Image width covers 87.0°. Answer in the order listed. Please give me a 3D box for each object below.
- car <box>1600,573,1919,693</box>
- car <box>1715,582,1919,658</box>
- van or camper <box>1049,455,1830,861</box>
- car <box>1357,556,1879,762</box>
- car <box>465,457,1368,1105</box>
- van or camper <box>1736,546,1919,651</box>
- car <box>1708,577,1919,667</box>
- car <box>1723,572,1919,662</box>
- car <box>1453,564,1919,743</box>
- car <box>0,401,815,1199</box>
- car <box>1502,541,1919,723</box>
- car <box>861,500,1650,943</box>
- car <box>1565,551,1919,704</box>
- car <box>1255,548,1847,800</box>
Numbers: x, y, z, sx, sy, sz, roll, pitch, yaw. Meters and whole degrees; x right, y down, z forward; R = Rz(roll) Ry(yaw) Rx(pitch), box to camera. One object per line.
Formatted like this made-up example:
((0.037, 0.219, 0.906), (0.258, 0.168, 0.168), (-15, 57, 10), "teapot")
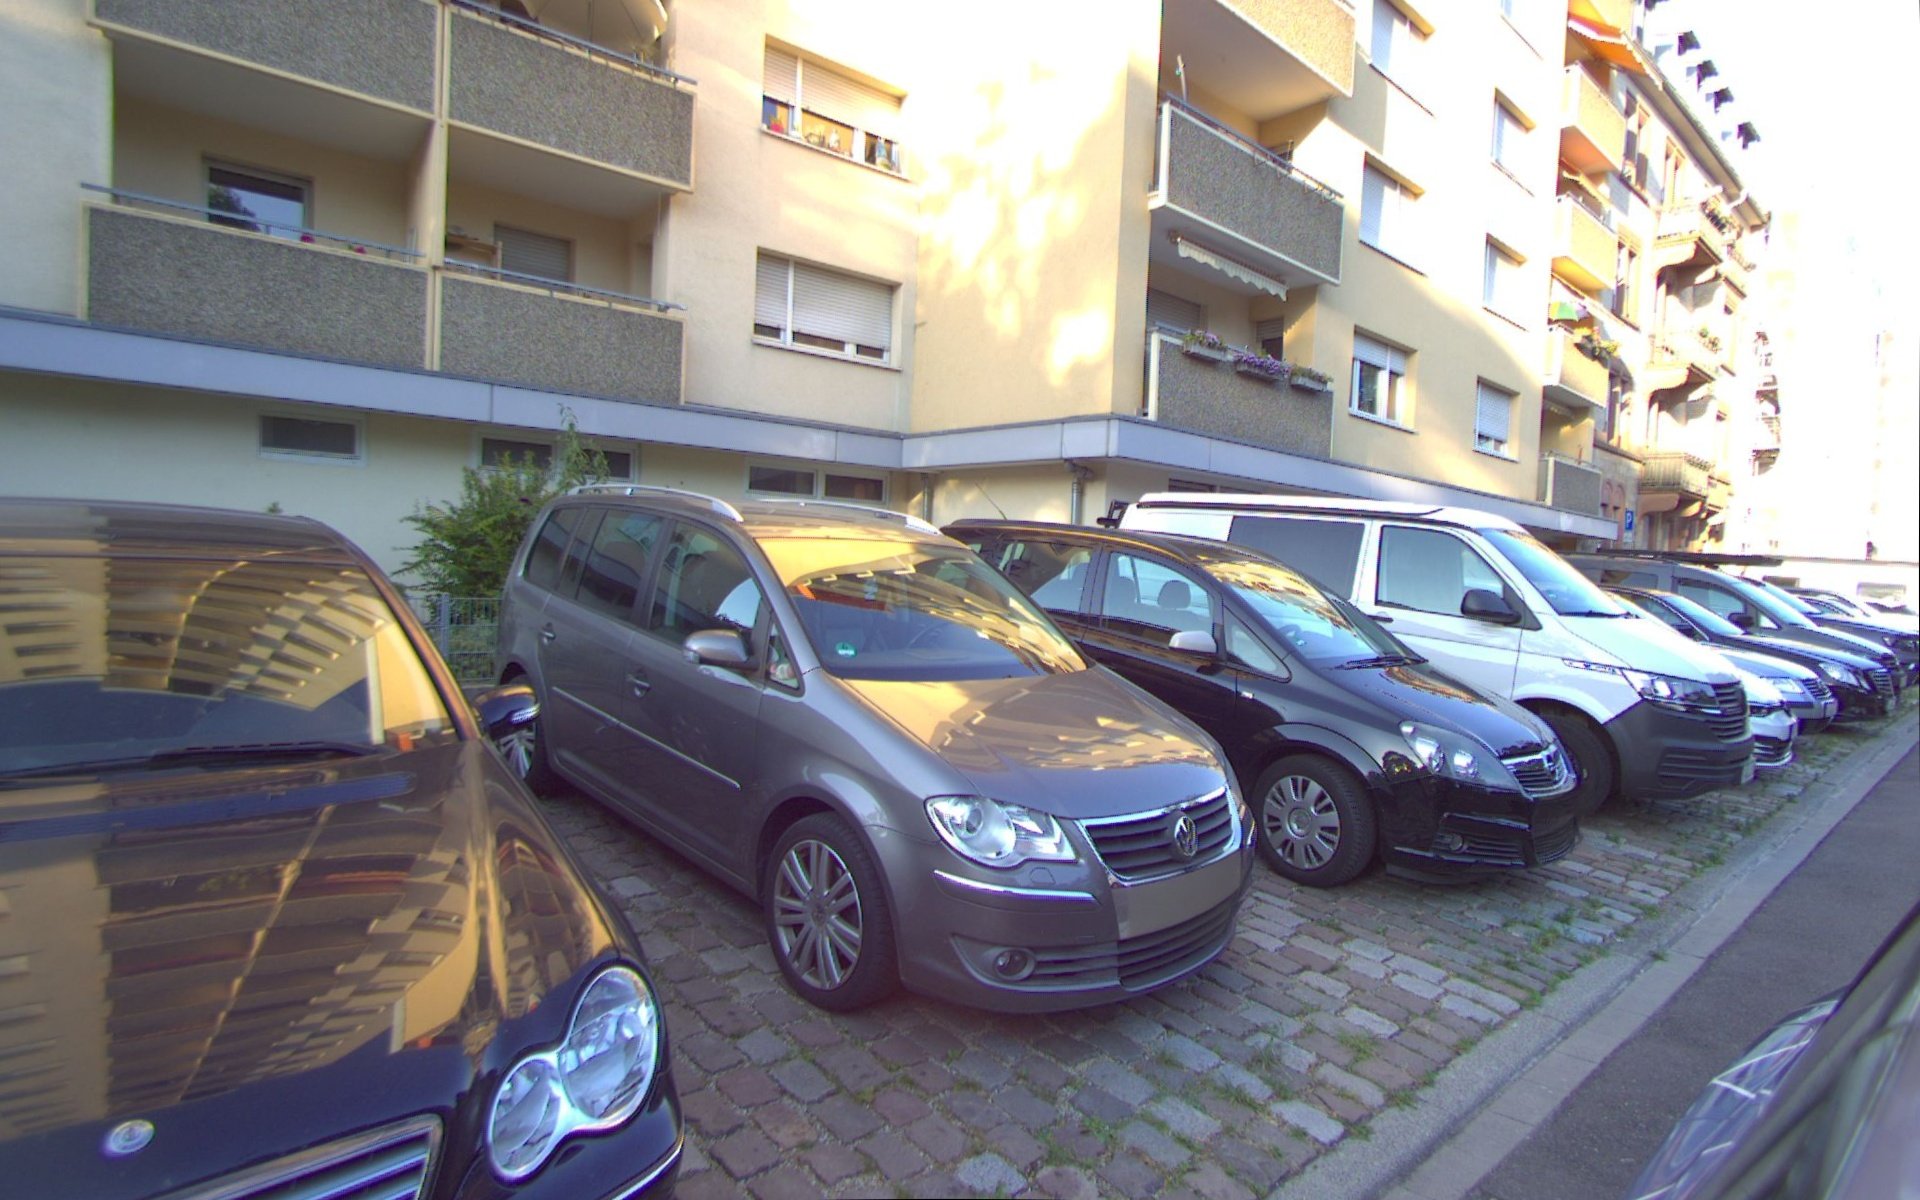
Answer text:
((14.061, 0.452, 17.720), (1.813, 1.572, 4.416), (-2, 5, -39), "car")
((22.296, 0.442, 25.932), (1.813, 1.638, 4.414), (-2, 4, -40), "car")
((3.358, 0.056, 8.121), (2.006, 2.192, 5.144), (0, 7, -43), "van or camper")
((6.919, 0.417, 11.078), (1.814, 1.611, 4.413), (-2, 6, -41), "car")
((-0.669, 0.231, 4.808), (1.815, 1.680, 4.412), (-2, 7, -43), "car")
((24.937, -0.022, 27.182), (2.014, 2.534, 6.074), (1, 4, -41), "van or camper")
((19.154, 0.439, 21.904), (1.813, 1.572, 4.415), (-2, 6, -40), "car")
((20.912, 0.364, 23.734), (1.812, 1.769, 4.418), (0, 5, -38), "car")
((8.740, 0.458, 12.442), (1.814, 1.581, 4.413), (-2, 6, -41), "car")
((-2.449, 0.372, 2.916), (1.815, 1.549, 4.411), (-2, 6, -43), "car")
((10.504, 0.252, 14.269), (1.814, 2.004, 4.647), (-2, 6, -41), "car")
((1.426, 0.322, 6.263), (1.752, 1.680, 4.334), (-2, 7, -43), "car")
((12.284, 0.299, 15.729), (1.814, 1.885, 4.522), (0, 4, -41), "car")
((5.249, 0.426, 9.535), (1.814, 1.650, 4.413), (-2, 6, -41), "car")
